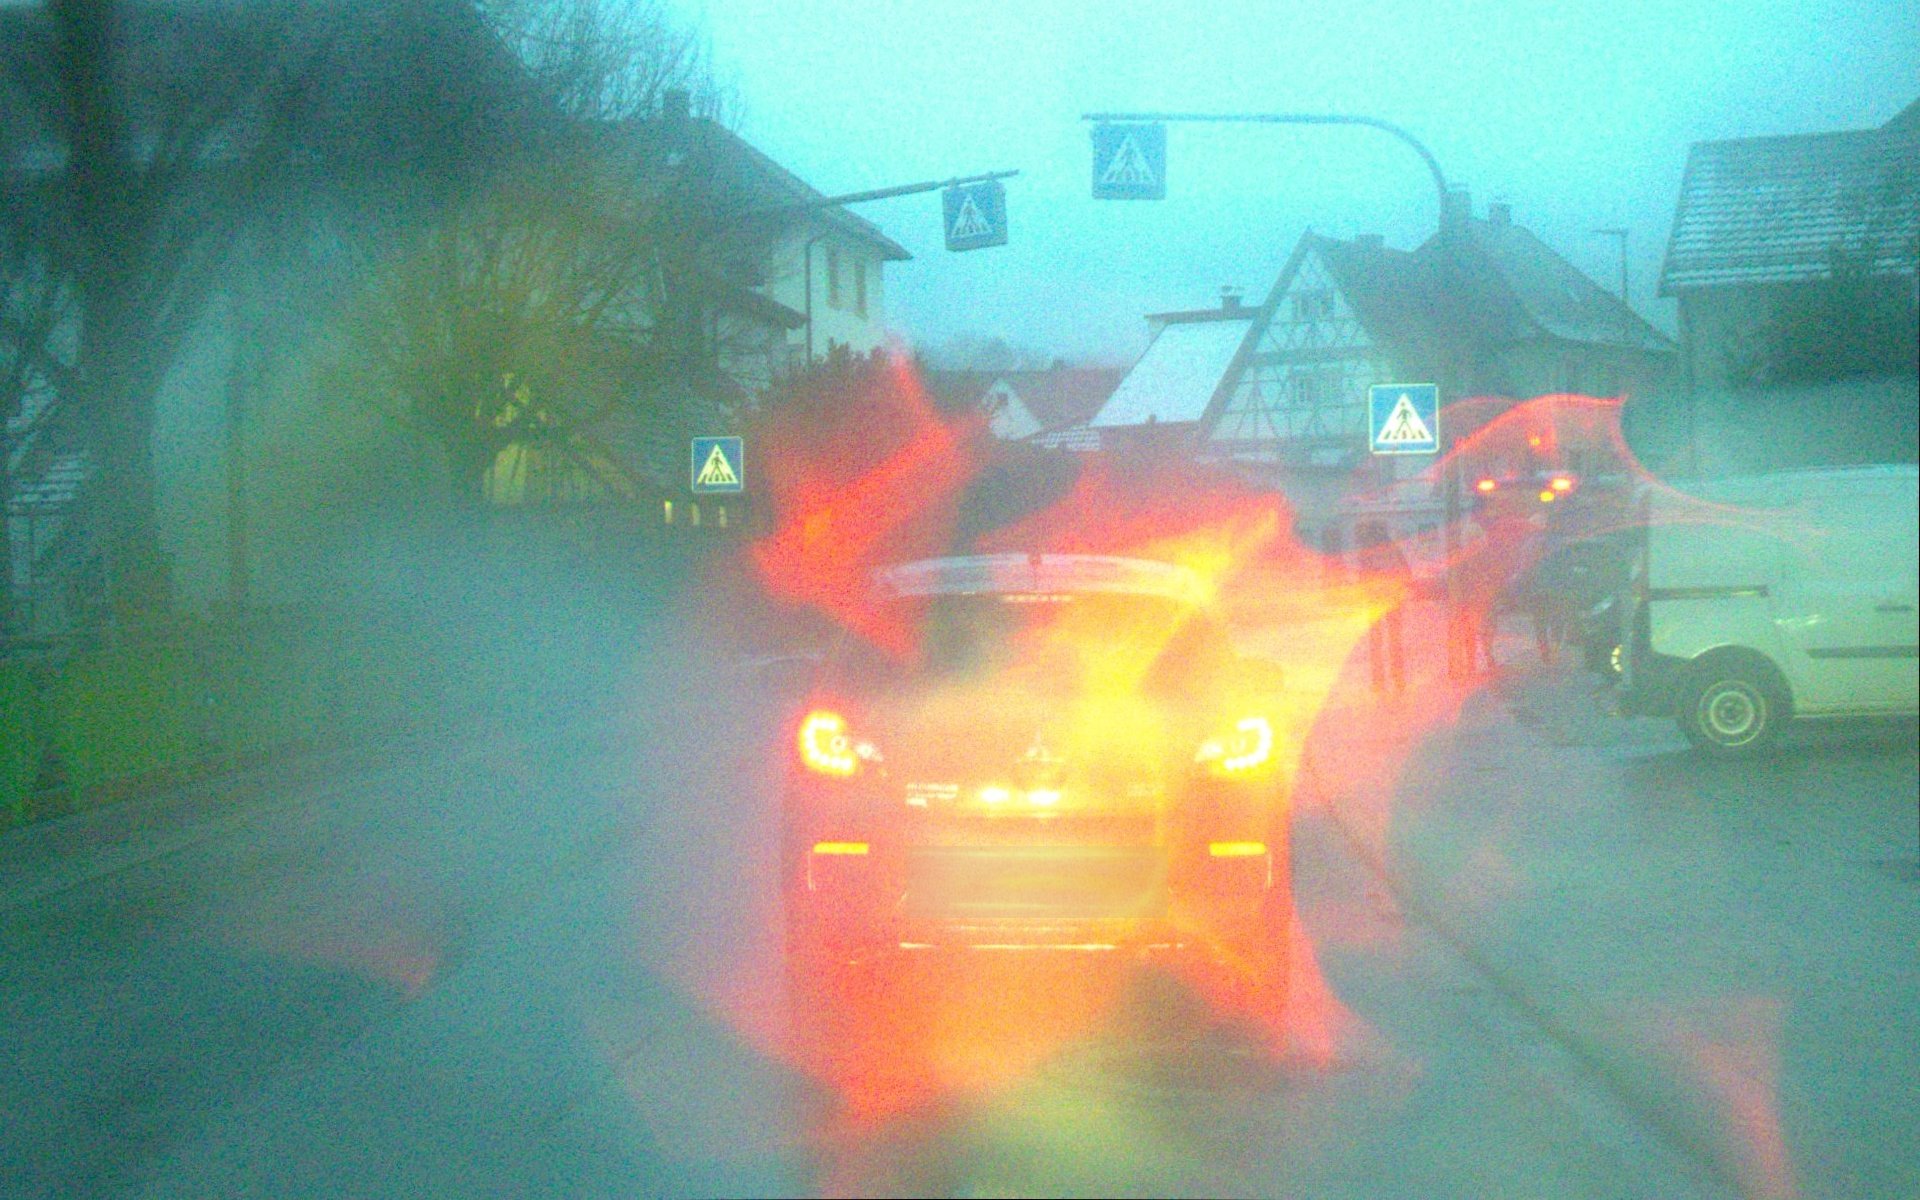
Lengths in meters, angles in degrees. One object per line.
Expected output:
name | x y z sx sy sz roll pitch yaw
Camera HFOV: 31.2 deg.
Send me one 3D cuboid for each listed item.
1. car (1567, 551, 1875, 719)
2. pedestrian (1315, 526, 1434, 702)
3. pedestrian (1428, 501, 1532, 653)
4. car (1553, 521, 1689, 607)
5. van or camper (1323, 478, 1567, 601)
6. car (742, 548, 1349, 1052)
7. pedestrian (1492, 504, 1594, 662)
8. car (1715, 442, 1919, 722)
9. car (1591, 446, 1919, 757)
car | 7.292 0.329 32.929 2.765 1.469 1.426 -2 0 14
pedestrian | 4.248 0.136 35.202 0.880 1.729 0.954 -4 0 22
pedestrian | 5.956 -0.269 39.355 0.868 1.661 0.991 -4 0 22
car | 13.029 -0.723 67.558 1.849 1.631 4.331 0 1 22
van or camper | 13.441 -1.662 95.395 6.070 2.945 2.402 -4 -1 29
car | 0.290 0.561 12.172 1.795 1.471 4.000 0 1 1
pedestrian | 6.633 -0.202 39.105 0.849 1.727 0.970 -4 0 22
car | 7.993 -0.234 24.510 4.984 1.882 1.936 -3 1 14
car | 6.178 -0.049 22.115 4.043 1.837 1.863 -3 0 9
